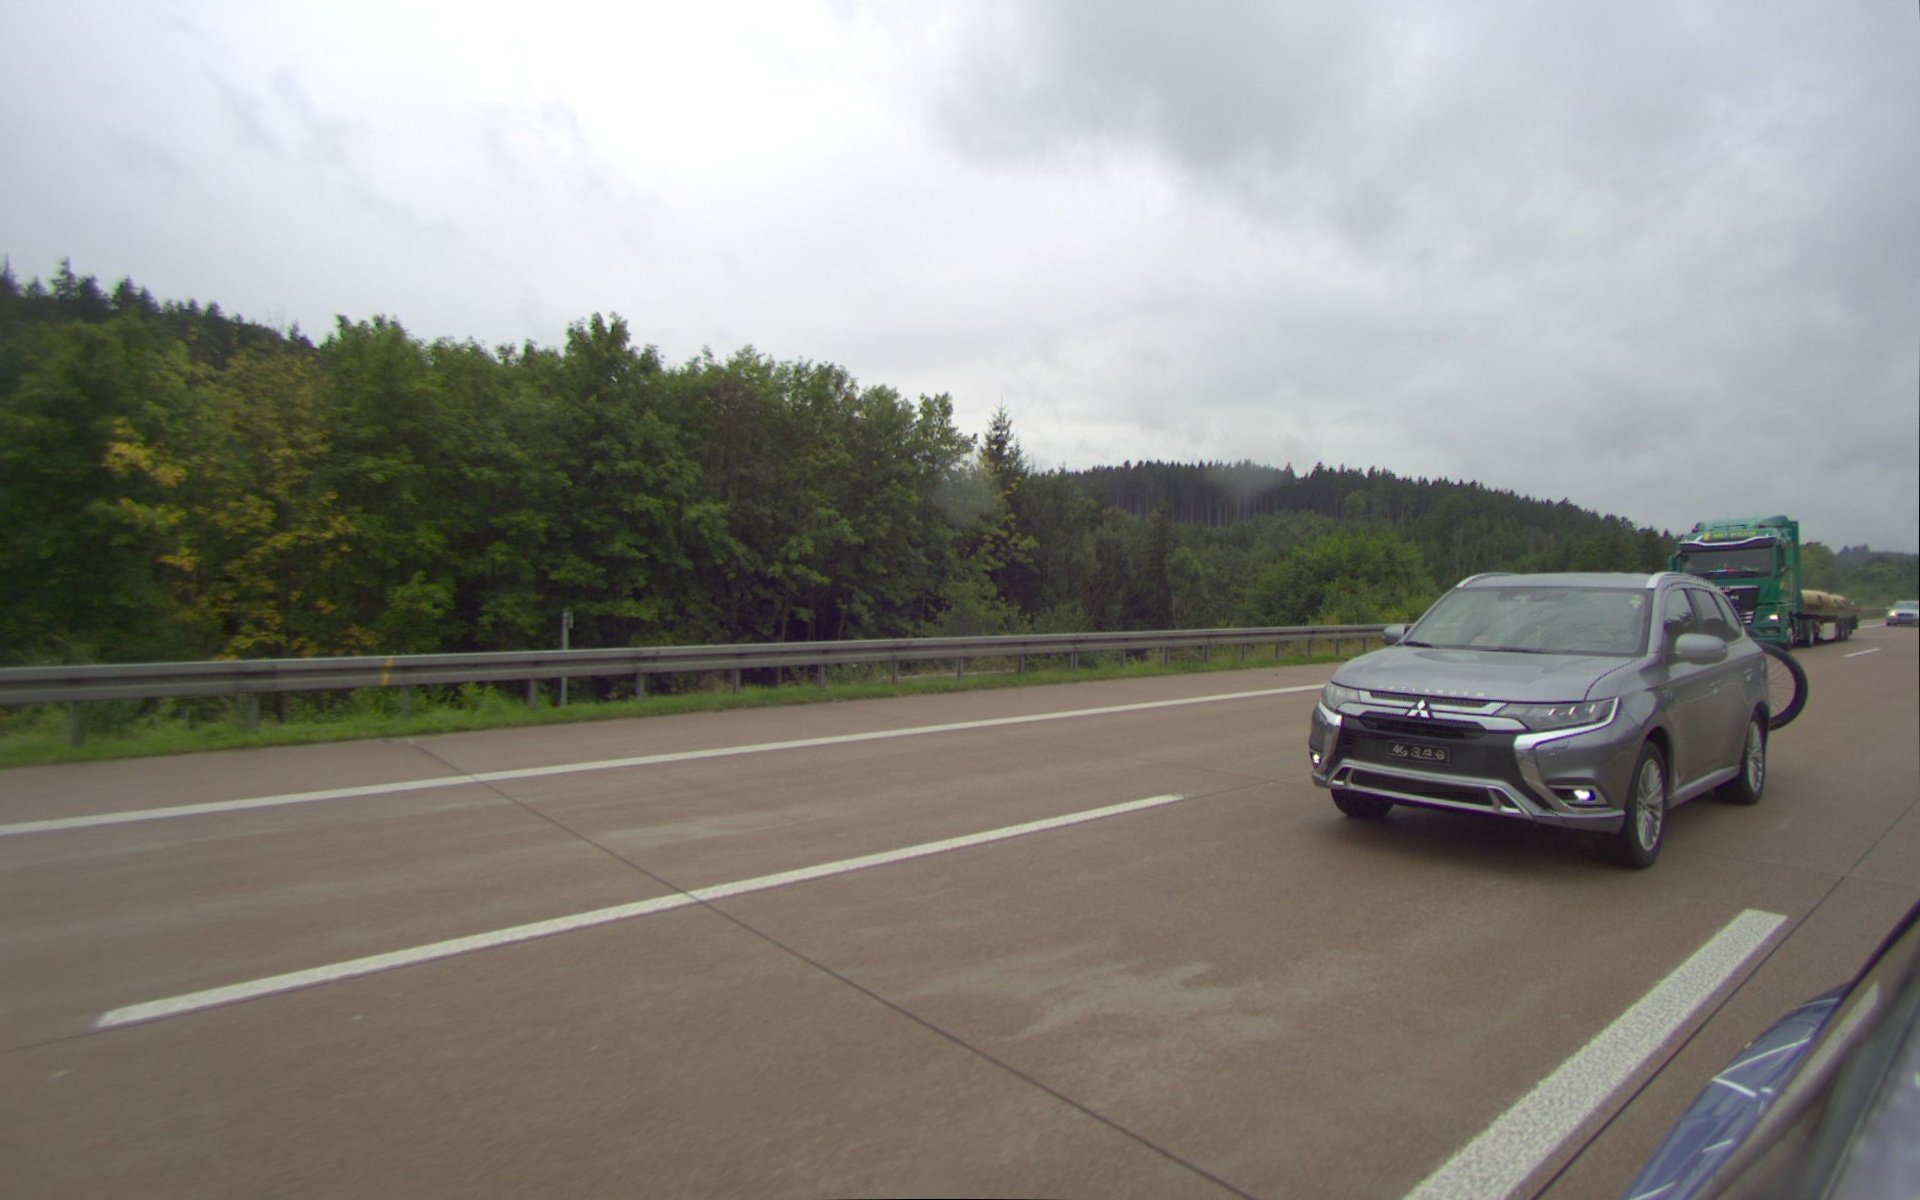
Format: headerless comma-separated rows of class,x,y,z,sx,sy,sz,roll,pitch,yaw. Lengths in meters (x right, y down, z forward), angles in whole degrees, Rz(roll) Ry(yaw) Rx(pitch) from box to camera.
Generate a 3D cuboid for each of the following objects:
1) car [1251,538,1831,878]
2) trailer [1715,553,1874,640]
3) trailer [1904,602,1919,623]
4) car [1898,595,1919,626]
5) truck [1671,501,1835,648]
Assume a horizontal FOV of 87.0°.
car,4.611,0.446,7.455,5.720,1.612,1.996,-2,1,-42
trailer,30.125,-0.135,36.264,11.204,2.709,2.884,0,0,-43
trailer,58.340,0.744,60.894,4.560,1.181,1.974,0,0,-43
car,54.938,0.585,57.758,4.894,1.631,1.700,-1,2,-43
truck,24.400,-0.743,31.015,6.871,4.014,2.900,-1,0,-43
